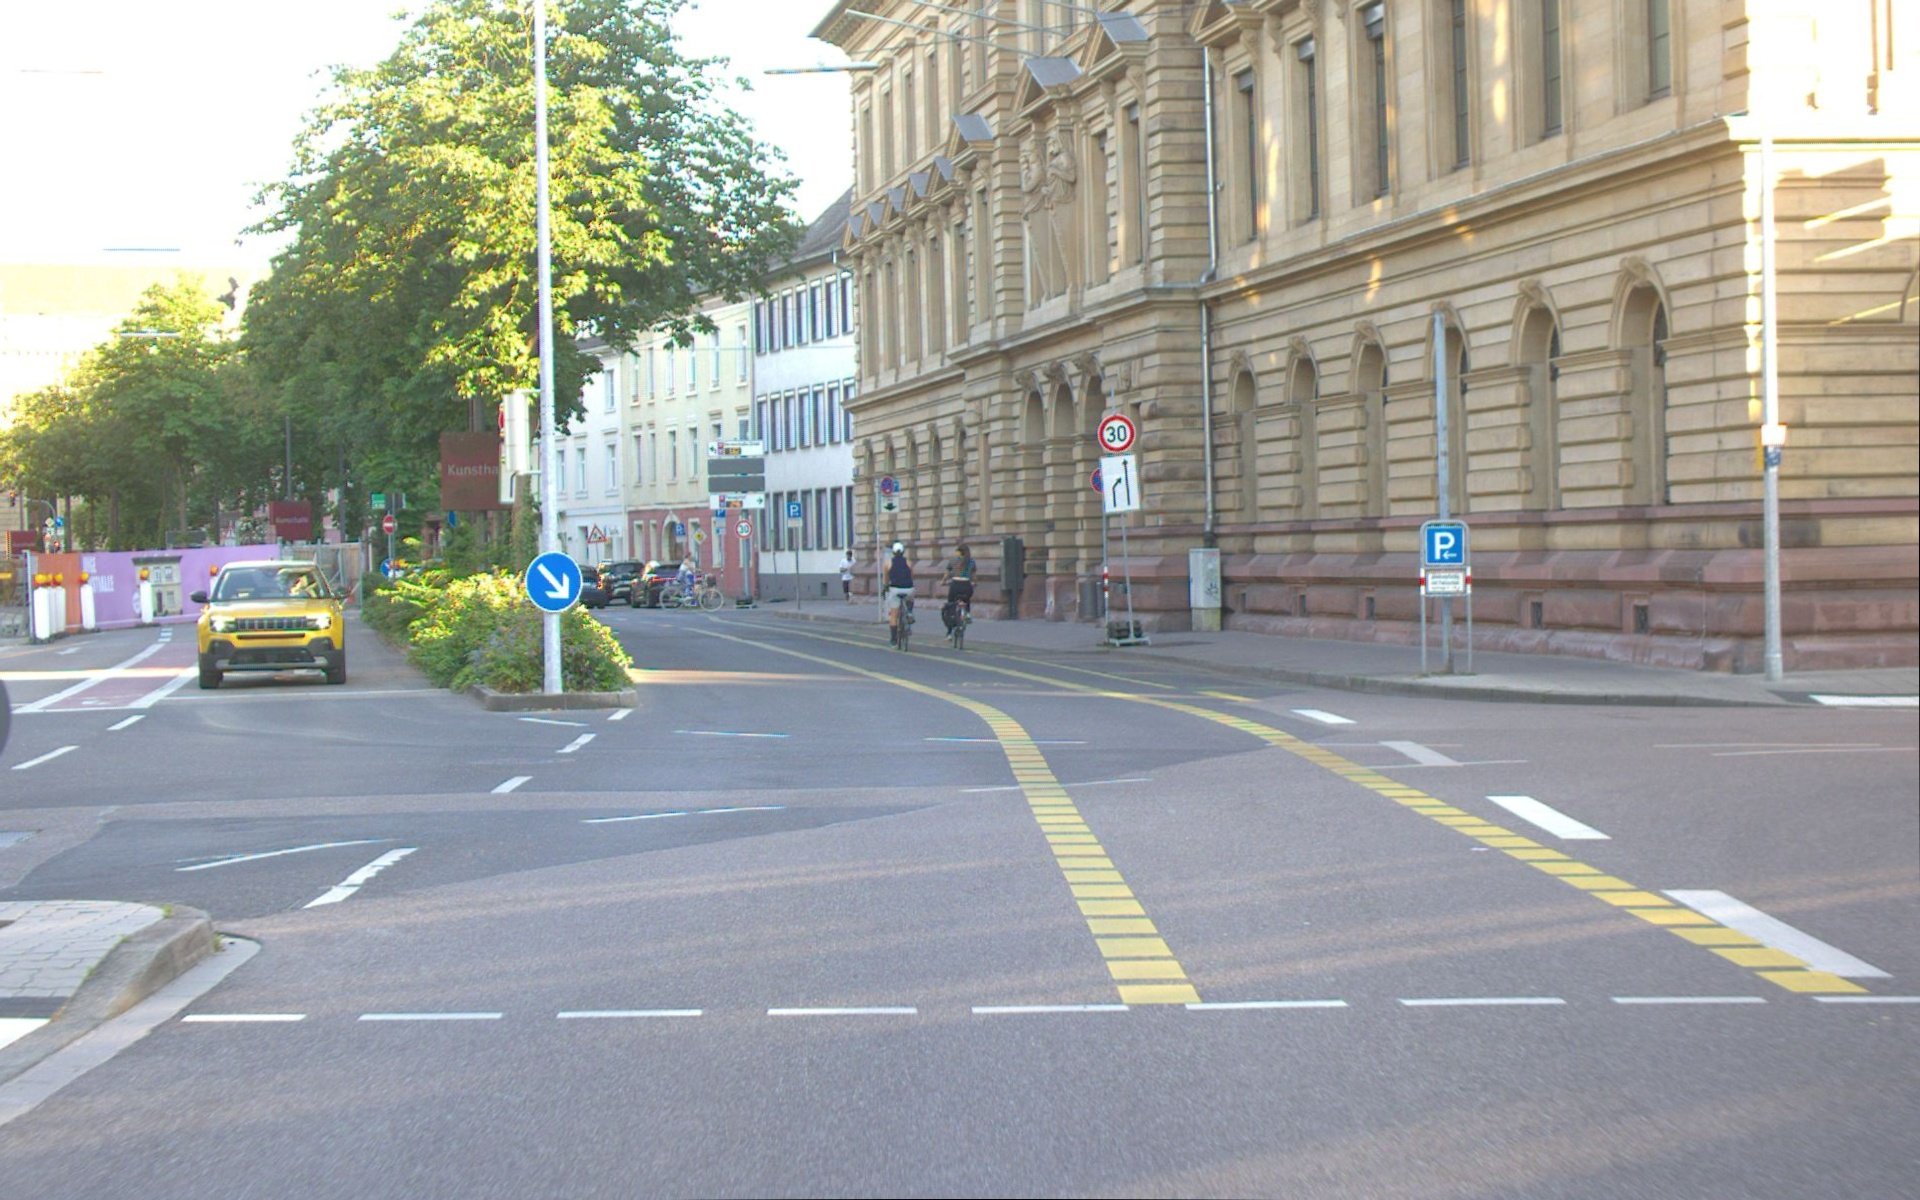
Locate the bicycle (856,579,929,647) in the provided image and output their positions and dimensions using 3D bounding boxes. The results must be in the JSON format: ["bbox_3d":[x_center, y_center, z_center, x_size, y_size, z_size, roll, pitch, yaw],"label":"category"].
[{"bbox_3d":[-1.091,0.200,54.866,0.669,1.067,1.902,0,0,-17],"label":"bicycle"}]

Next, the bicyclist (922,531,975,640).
[{"bbox_3d":[-0.189,-0.235,55.781,0.649,1.754,0.864,1,1,-14],"label":"bicyclist"}]

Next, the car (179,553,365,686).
[{"bbox_3d":[-8.600,0.206,43.284,1.845,1.542,4.119,-2,1,-5],"label":"car"}]

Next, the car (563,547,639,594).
[{"bbox_3d":[-13.189,-1.084,126.261,1.812,1.678,4.001,-1,0,-20],"label":"car"}]

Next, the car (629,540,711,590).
[{"bbox_3d":[-10.019,-1.198,118.536,1.812,1.677,3.920,-1,0,-20],"label":"car"}]

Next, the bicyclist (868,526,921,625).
[{"bbox_3d":[-1.046,-0.389,54.798,0.668,1.560,0.699,1,0,-15],"label":"bicyclist"}]

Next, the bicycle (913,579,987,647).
[{"bbox_3d":[-0.175,0.203,55.714,0.652,1.067,2.259,1,0,-14],"label":"bicycle"}]

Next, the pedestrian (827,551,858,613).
[{"bbox_3d":[-3.383,-0.525,99.117,0.816,1.759,1.038,0,1,-5],"label":"pedestrian"}]
